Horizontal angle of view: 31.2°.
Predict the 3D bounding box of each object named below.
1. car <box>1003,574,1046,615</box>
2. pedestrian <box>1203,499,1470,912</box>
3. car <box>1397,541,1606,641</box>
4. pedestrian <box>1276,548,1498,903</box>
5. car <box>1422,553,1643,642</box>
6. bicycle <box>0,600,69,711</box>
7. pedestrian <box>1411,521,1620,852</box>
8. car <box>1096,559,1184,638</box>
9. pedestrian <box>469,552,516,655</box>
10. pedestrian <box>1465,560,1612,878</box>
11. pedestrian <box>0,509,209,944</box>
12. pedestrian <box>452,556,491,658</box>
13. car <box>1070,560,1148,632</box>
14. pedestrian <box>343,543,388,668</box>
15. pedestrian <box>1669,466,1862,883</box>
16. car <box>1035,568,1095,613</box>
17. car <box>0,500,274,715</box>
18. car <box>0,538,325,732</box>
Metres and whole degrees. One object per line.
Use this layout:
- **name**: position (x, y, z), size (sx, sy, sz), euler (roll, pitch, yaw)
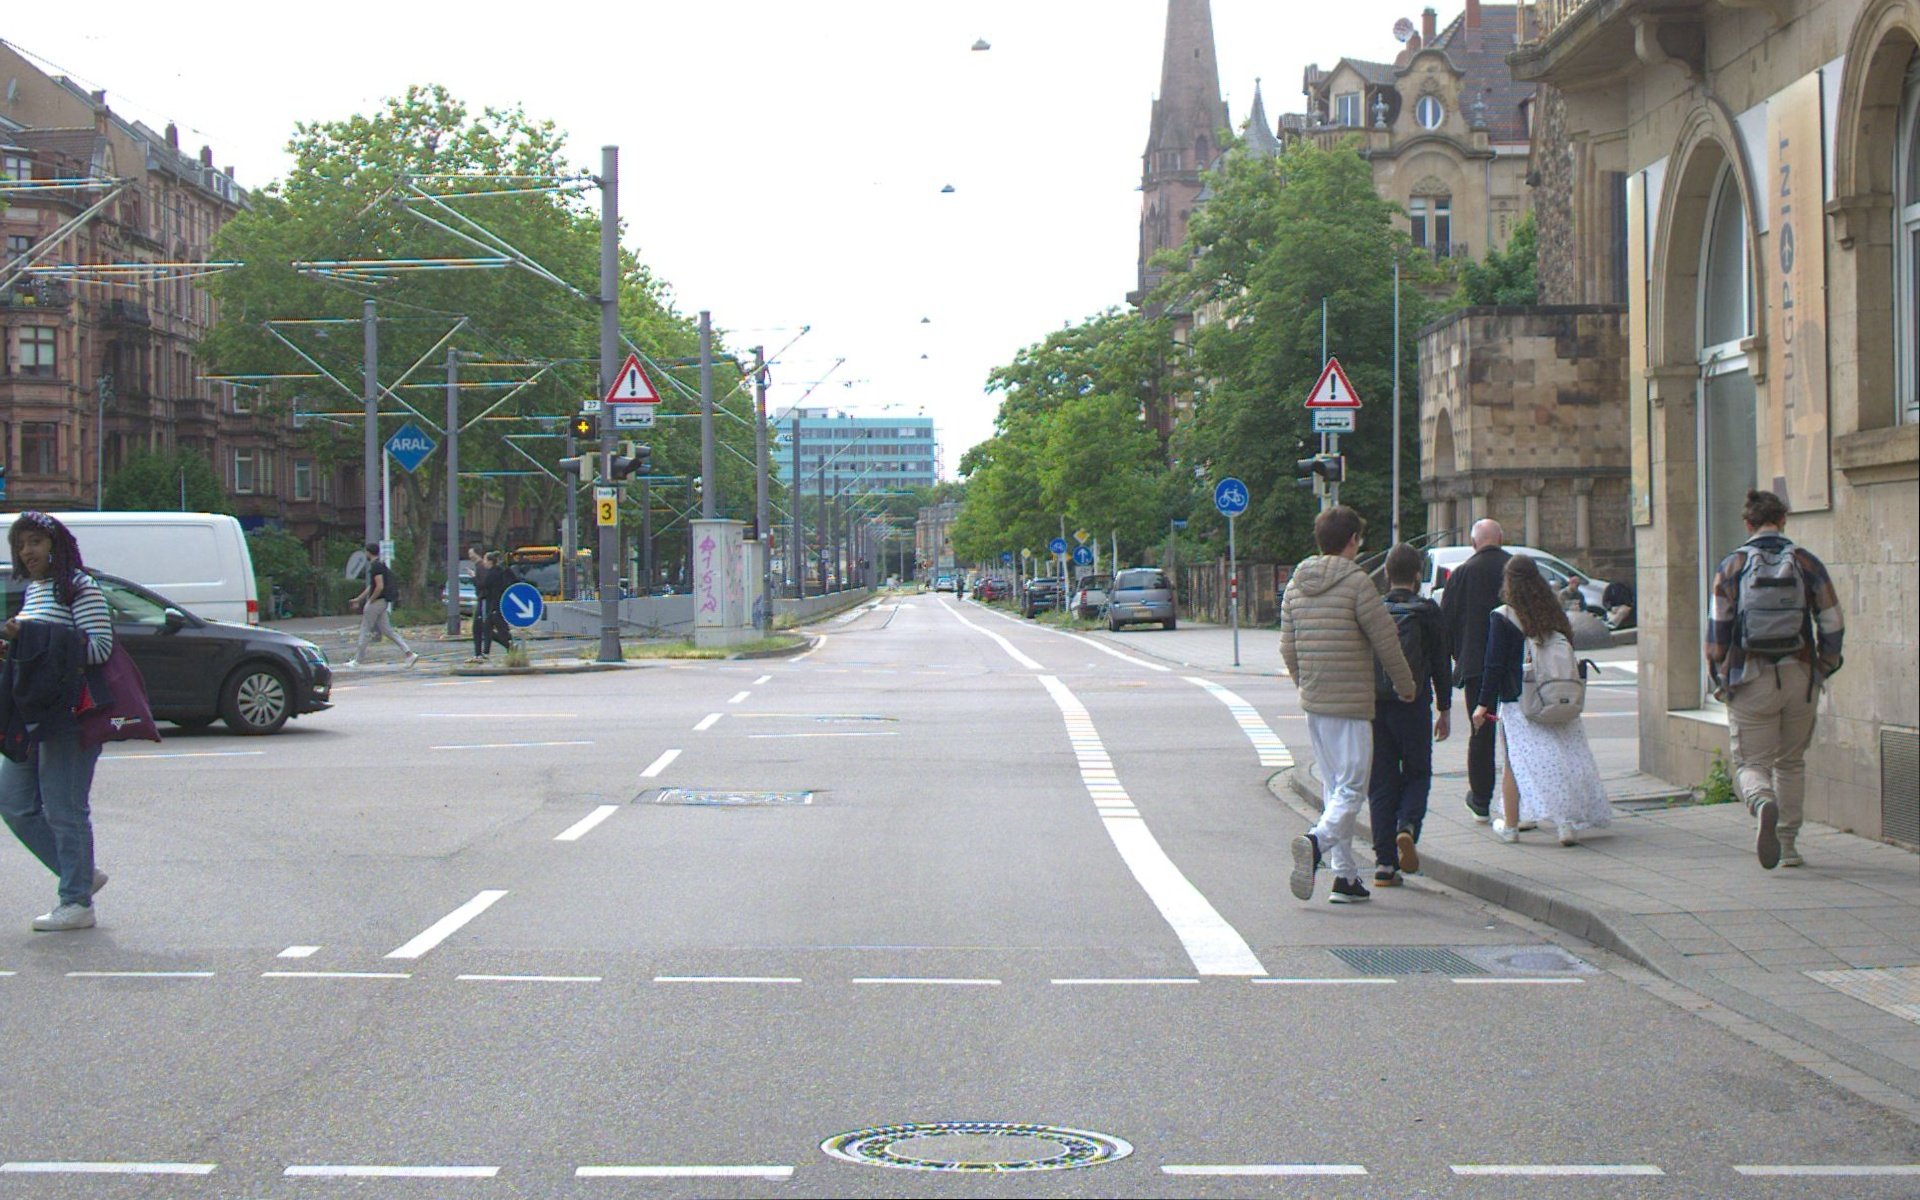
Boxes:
- **car**: position (3.213, -0.281, 172.400), size (1.993, 2.007, 4.000), euler (1, 0, -1)
- **pedestrian**: position (1.697, 0.465, 15.517), size (1.011, 1.807, 0.585), euler (1, 0, -23)
- **car**: position (10.736, -0.186, 68.321), size (3.799, 1.897, 2.000), euler (1, 0, 0)
- **pedestrian**: position (2.067, 0.585, 16.595), size (0.627, 1.647, 0.994), euler (1, 0, 37)
- **car**: position (10.773, -0.058, 64.911), size (3.799, 1.595, 2.000), euler (1, 0, 0)
- **bicycle**: position (-10.294, 0.567, 35.705), size (1.937, 1.132, 0.736), euler (1, 0, -21)
- **pedestrian**: position (3.065, 0.459, 18.982), size (0.917, 1.778, 0.646), euler (1, 0, 37)
- **car**: position (4.693, -0.055, 90.118), size (1.993, 2.007, 4.000), euler (1, 0, -1)
- **pedestrian**: position (-7.005, 0.050, 51.576), size (0.653, 1.532, 0.466), euler (1, 0, -5)
- **pedestrian**: position (2.977, 0.596, 17.749), size (0.700, 1.587, 0.831), euler (1, 0, 8)
- **pedestrian**: position (-3.578, 0.484, 13.762), size (0.671, 1.674, 0.866), euler (1, 0, 38)
- **pedestrian**: position (-7.403, 0.108, 52.118), size (0.545, 1.532, 0.466), euler (1, 0, -5)
- **car**: position (4.287, -0.119, 99.675), size (1.993, 2.007, 4.000), euler (1, 0, -1)
- **pedestrian**: position (-8.565, 0.076, 49.529), size (0.573, 1.788, 0.519), euler (1, 0, -5)
- **pedestrian**: position (3.593, 0.322, 15.410), size (0.626, 1.772, 1.134), euler (-3, 0, 7)
- **car**: position (3.917, -0.373, 128.489), size (1.993, 1.602, 4.164), euler (-2, 0, -1)
- **car**: position (-9.112, 0.058, 32.299), size (4.863, 1.960, 1.989), euler (1, 0, -26)
- **car**: position (-7.756, 0.278, 29.020), size (4.326, 1.581, 1.812), euler (1, 0, -31)
